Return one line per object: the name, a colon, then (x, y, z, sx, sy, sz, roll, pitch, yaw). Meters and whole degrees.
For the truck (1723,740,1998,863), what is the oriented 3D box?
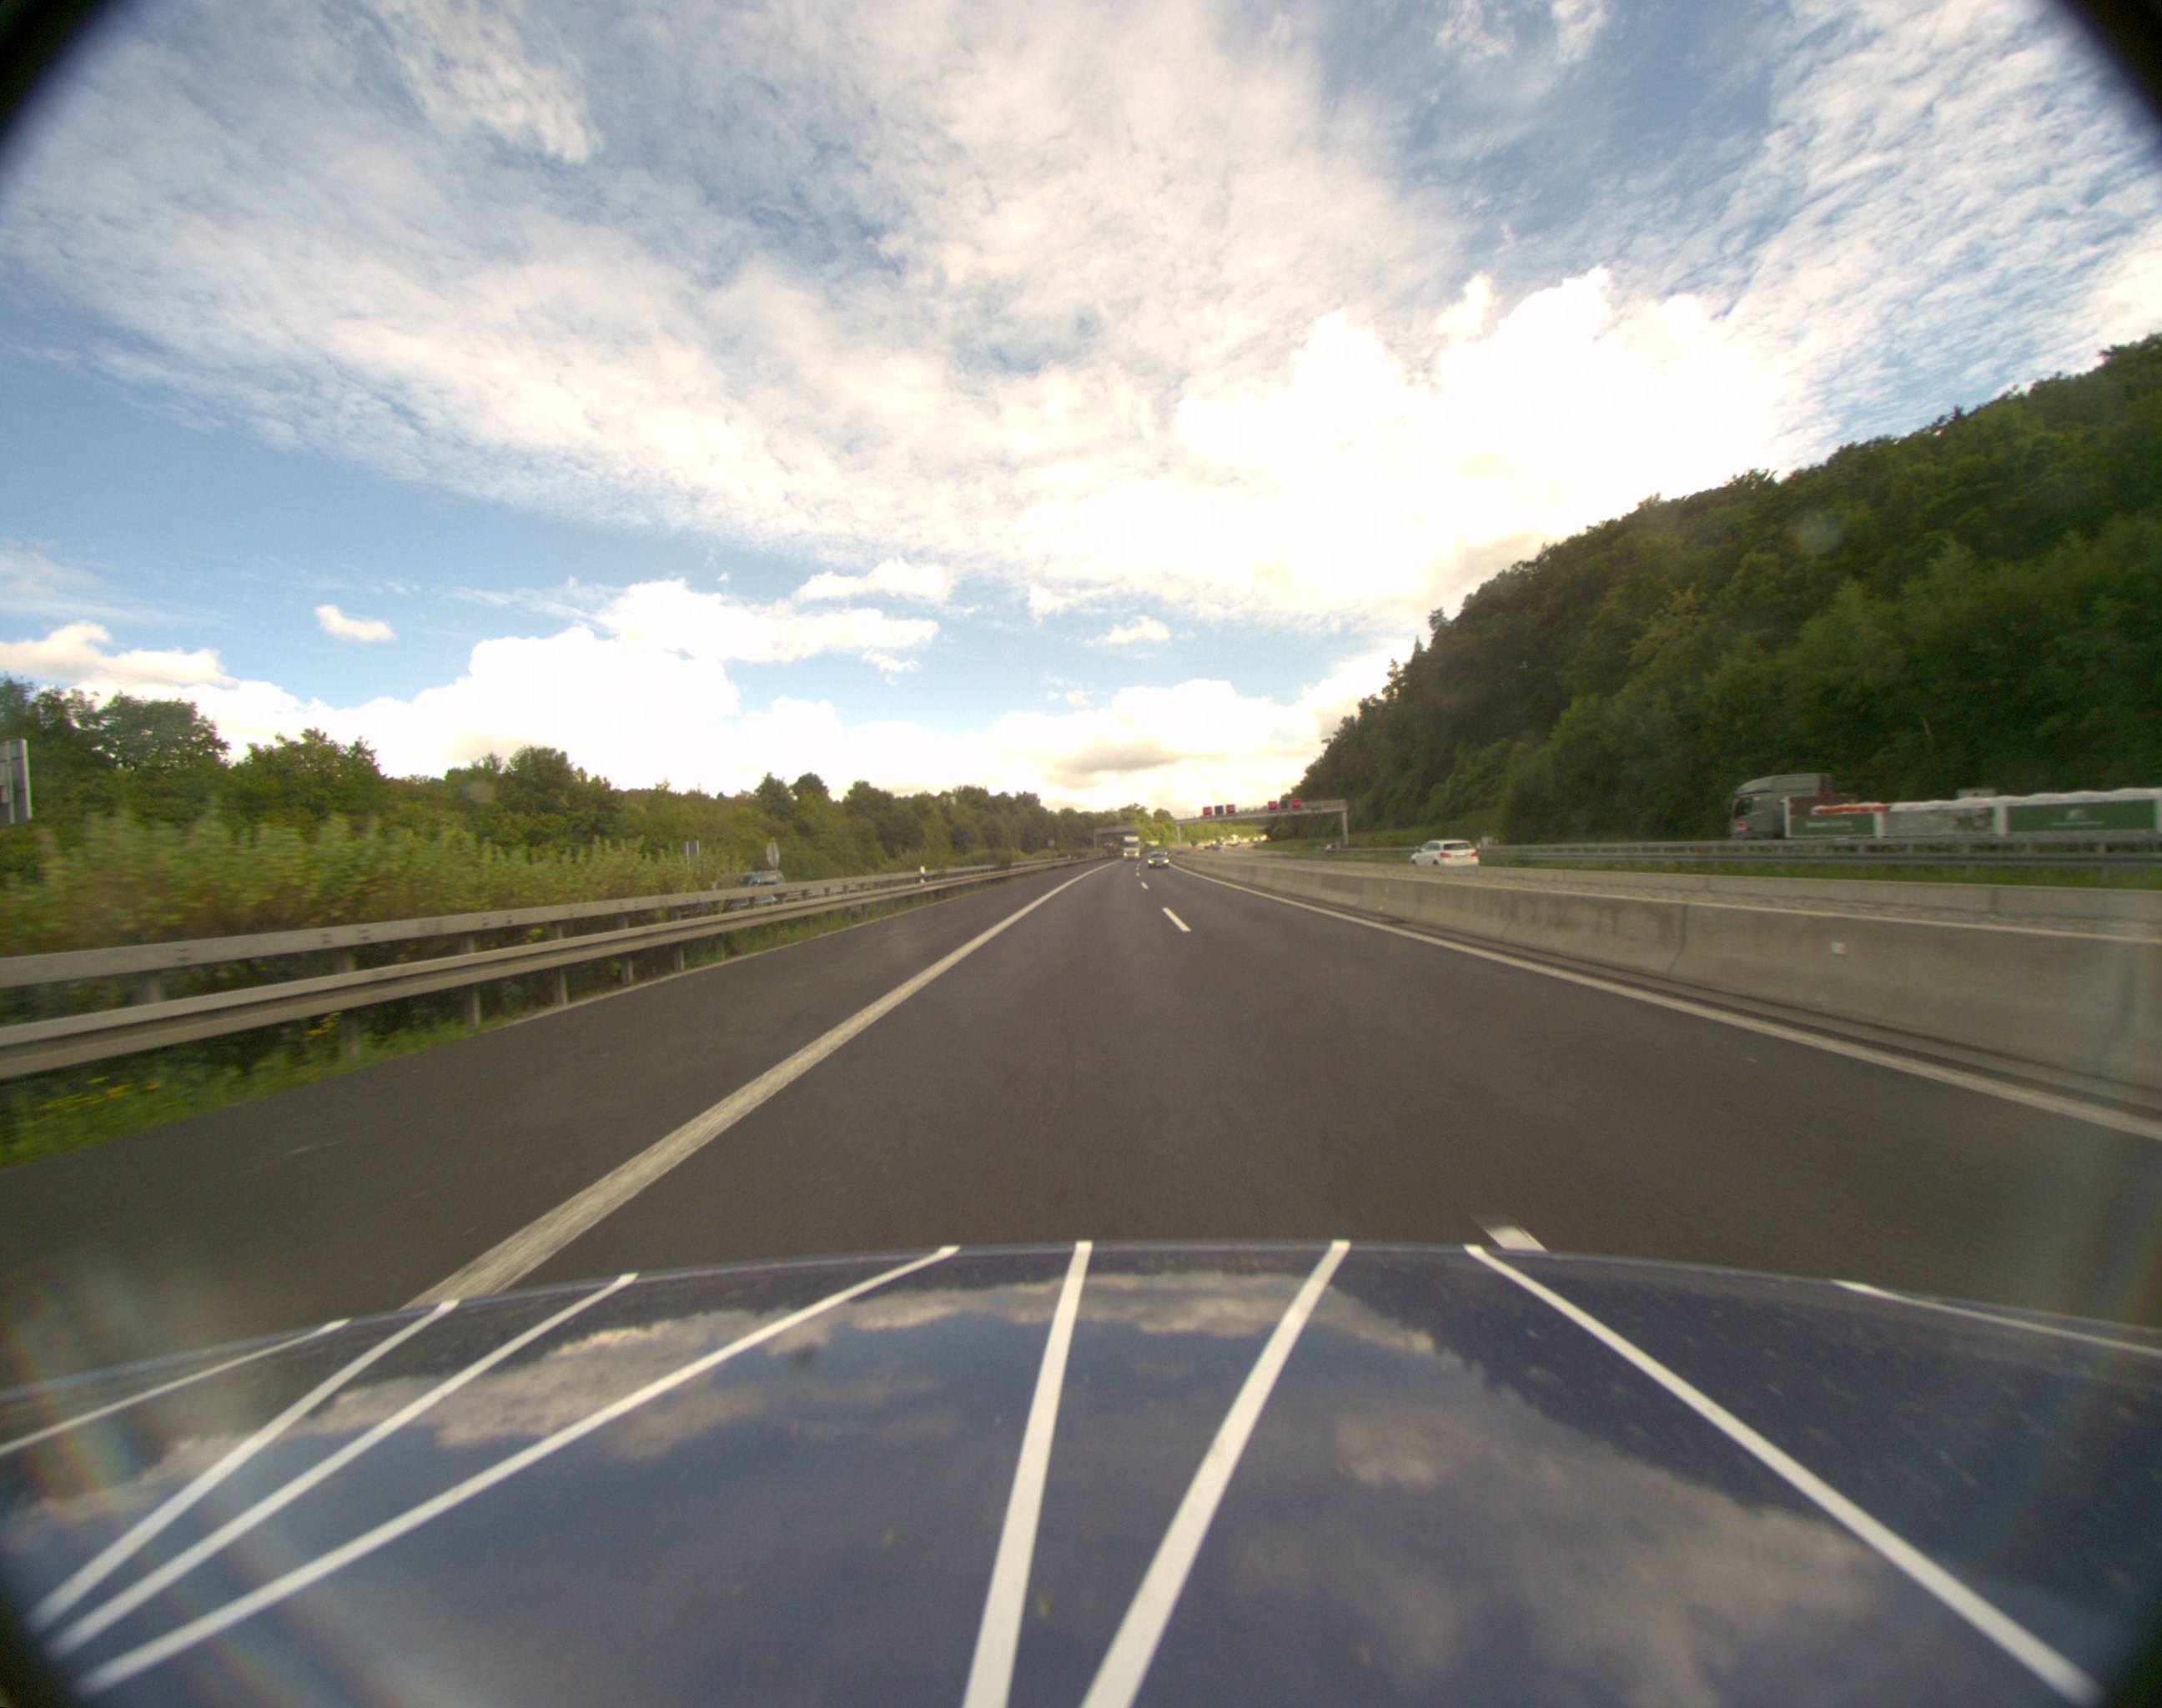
truck: (27.970, -1.719, 27.901, 2.816, 3.804, 7.129, -3, 1, 1)

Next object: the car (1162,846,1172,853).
car: (19.491, -1.021, 171.700, 1.997, 1.464, 4.002, -2, 0, 8)

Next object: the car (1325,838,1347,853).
car: (35.555, -1.216, 106.023, 1.998, 2.002, 4.001, -2, 1, 4)

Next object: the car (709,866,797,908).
car: (-14.381, 1.417, 33.642, 1.788, 1.562, 4.344, -2, 0, 2)

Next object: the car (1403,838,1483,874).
car: (17.297, 0.037, 36.590, 1.717, 1.519, 4.766, -2, 2, 2)

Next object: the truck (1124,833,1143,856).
truck: (9.275, -1.739, 132.764, 2.795, 3.563, 11.459, -2, 2, 6)

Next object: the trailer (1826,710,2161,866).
trailer: (27.616, -1.673, 20.768, 2.819, 3.785, 12.188, -3, 0, 2)

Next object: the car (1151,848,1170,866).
car: (7.301, 0.253, 69.612, 1.662, 1.464, 4.001, -2, 1, 7)

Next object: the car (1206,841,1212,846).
car: (44.433, -3.750, 264.364, 1.997, 1.631, 4.002, -2, 1, 9)

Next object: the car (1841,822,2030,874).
car: (34.452, -0.299, 30.921, 1.998, 1.844, 5.261, -2, 2, 4)

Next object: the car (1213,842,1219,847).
car: (42.116, -3.083, 237.260, 1.669, 1.387, 4.602, -2, 1, 7)
